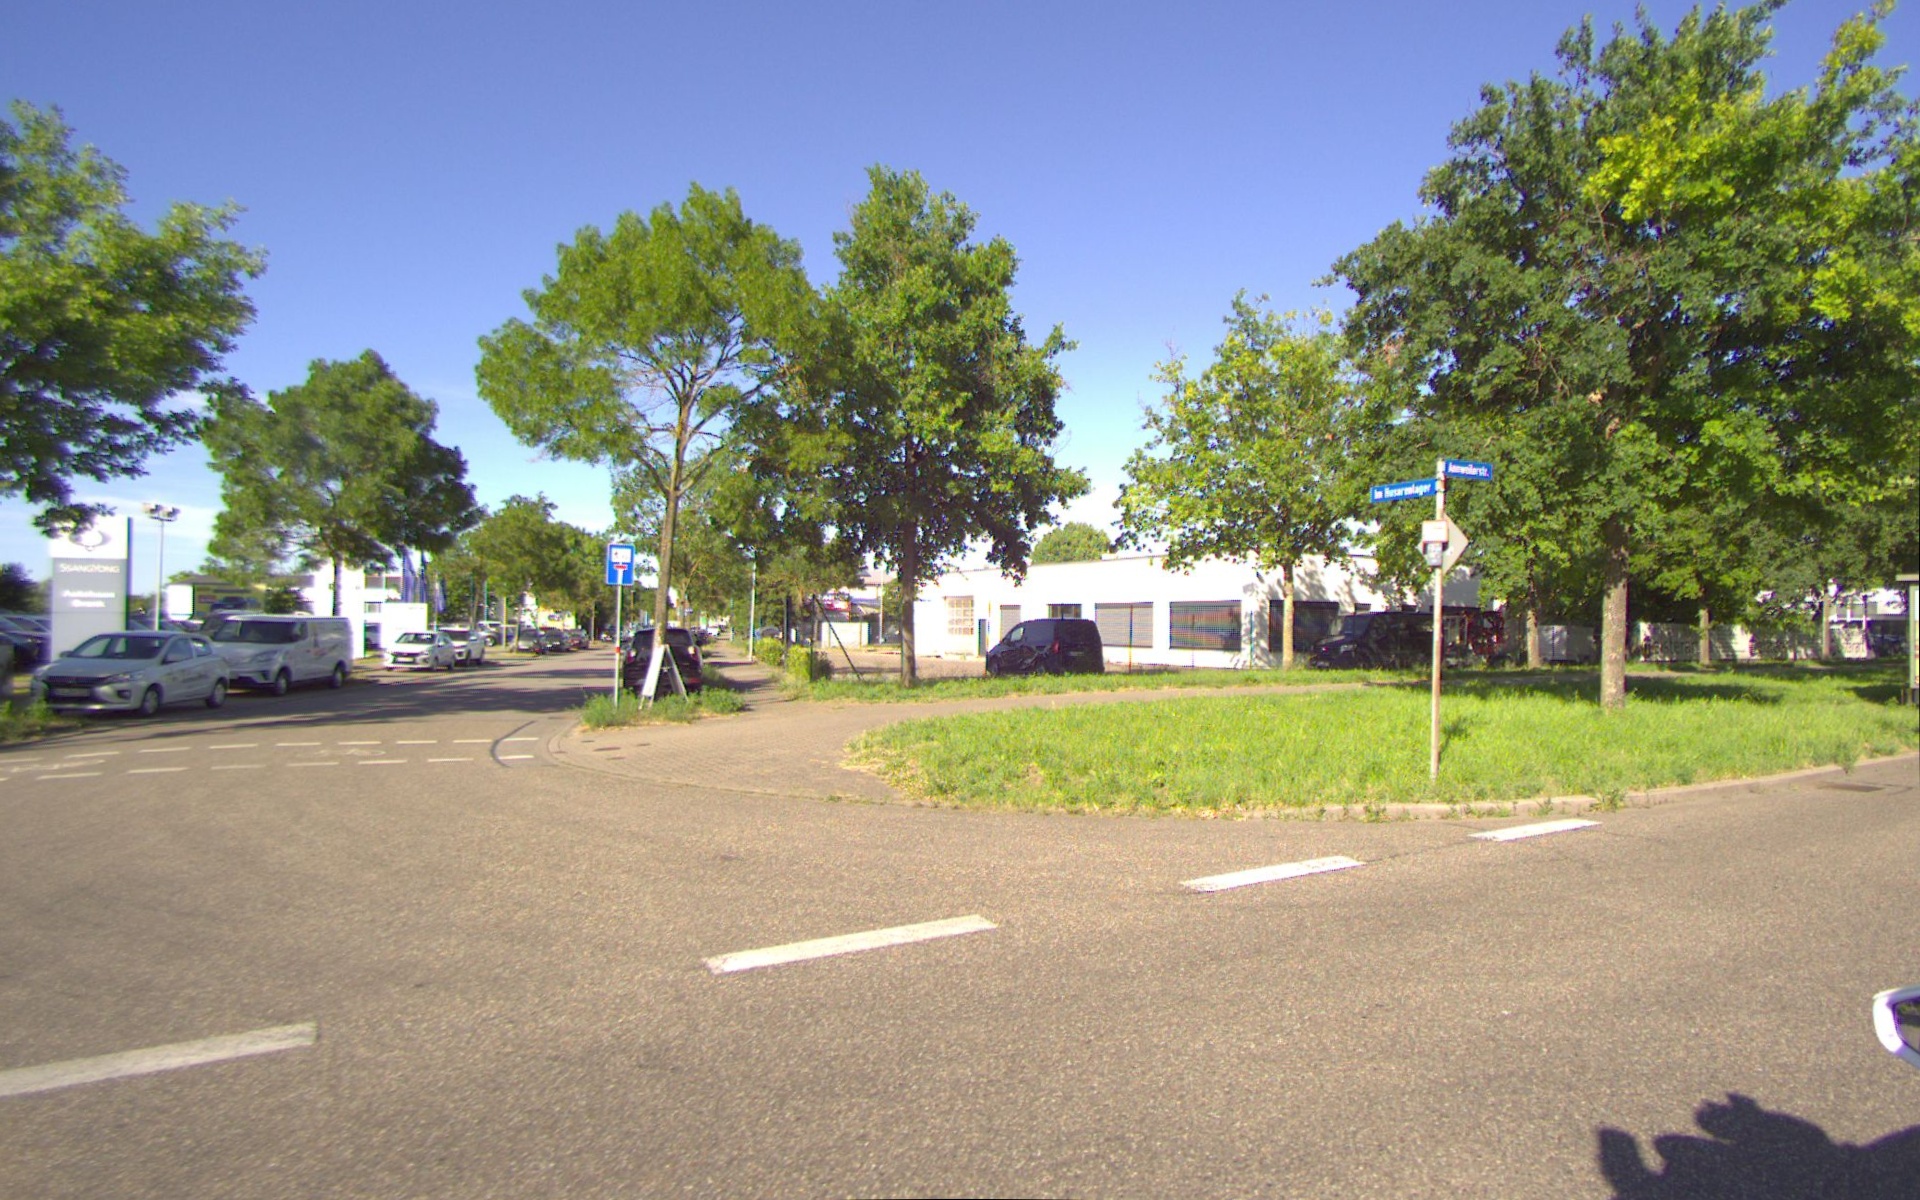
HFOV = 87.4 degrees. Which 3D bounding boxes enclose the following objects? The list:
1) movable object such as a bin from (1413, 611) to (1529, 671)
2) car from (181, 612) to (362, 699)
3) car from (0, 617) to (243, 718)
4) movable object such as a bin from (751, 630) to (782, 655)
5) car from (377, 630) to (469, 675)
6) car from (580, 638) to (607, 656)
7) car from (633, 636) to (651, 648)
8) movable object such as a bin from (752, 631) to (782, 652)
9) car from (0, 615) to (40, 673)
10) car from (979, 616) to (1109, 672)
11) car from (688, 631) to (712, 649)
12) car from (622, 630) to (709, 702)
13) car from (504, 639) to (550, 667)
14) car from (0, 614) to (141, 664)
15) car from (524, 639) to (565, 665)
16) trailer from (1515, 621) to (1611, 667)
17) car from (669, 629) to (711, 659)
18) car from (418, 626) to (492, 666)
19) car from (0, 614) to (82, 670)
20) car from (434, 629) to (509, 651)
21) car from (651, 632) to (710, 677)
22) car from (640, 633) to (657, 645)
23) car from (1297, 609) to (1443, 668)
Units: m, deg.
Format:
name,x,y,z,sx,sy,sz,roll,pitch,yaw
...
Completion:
name,x,y,z,sx,sy,sz,roll,pitch,yaw
movable object such as a bin,20.386,1.609,40.056,4.408,2.246,2.092,1,-1,-30
car,-16.951,1.317,25.084,1.907,1.931,5.016,1,-2,-12
car,-15.210,1.166,18.463,1.929,1.639,3.746,1,-2,-12
movable object such as a bin,-10.561,2.317,54.997,1.617,1.288,1.676,1,-1,-10
car,-20.033,1.911,37.654,1.768,1.531,3.994,0,-1,-9
car,-33.886,4.317,92.995,1.769,1.531,3.992,0,-1,-11
car,-42.490,5.582,134.168,1.769,1.531,3.992,0,-1,-11
movable object such as a bin,-10.859,2.315,56.699,1.617,1.159,1.490,1,-1,-10
car,-28.456,1.171,27.195,4.795,1.583,1.992,1,-2,-18
car,2.357,1.264,29.396,1.914,1.499,4.490,1,-2,-23
car,-24.001,3.682,92.783,1.768,1.531,3.994,1,-1,-9
car,-6.897,1.490,23.808,1.791,1.553,3.671,1,-2,-14
car,-26.515,3.200,61.679,1.769,1.531,3.992,0,-1,-11
car,-29.871,1.256,32.492,4.795,1.583,1.992,1,-2,-18
car,-28.018,3.485,67.865,1.769,1.531,3.992,0,-1,-11
trailer,26.335,1.881,43.853,3.696,1.940,2.093,1,-1,-30
car,-14.716,2.367,54.832,1.768,1.531,3.994,0,-1,-9
car,-21.405,1.916,42.754,1.769,1.531,3.992,0,-1,-11
car,-29.421,1.213,29.678,4.795,1.612,1.992,1,-2,-18
car,-36.860,3.001,75.908,4.795,1.583,1.992,1,-1,-18
car,-10.958,2.087,39.617,1.768,1.597,3.994,0,-1,-9
car,-44.465,5.541,143.420,1.769,1.531,3.992,0,-1,-11
car,15.097,1.415,36.877,5.741,2.015,2.025,1,-2,-32
